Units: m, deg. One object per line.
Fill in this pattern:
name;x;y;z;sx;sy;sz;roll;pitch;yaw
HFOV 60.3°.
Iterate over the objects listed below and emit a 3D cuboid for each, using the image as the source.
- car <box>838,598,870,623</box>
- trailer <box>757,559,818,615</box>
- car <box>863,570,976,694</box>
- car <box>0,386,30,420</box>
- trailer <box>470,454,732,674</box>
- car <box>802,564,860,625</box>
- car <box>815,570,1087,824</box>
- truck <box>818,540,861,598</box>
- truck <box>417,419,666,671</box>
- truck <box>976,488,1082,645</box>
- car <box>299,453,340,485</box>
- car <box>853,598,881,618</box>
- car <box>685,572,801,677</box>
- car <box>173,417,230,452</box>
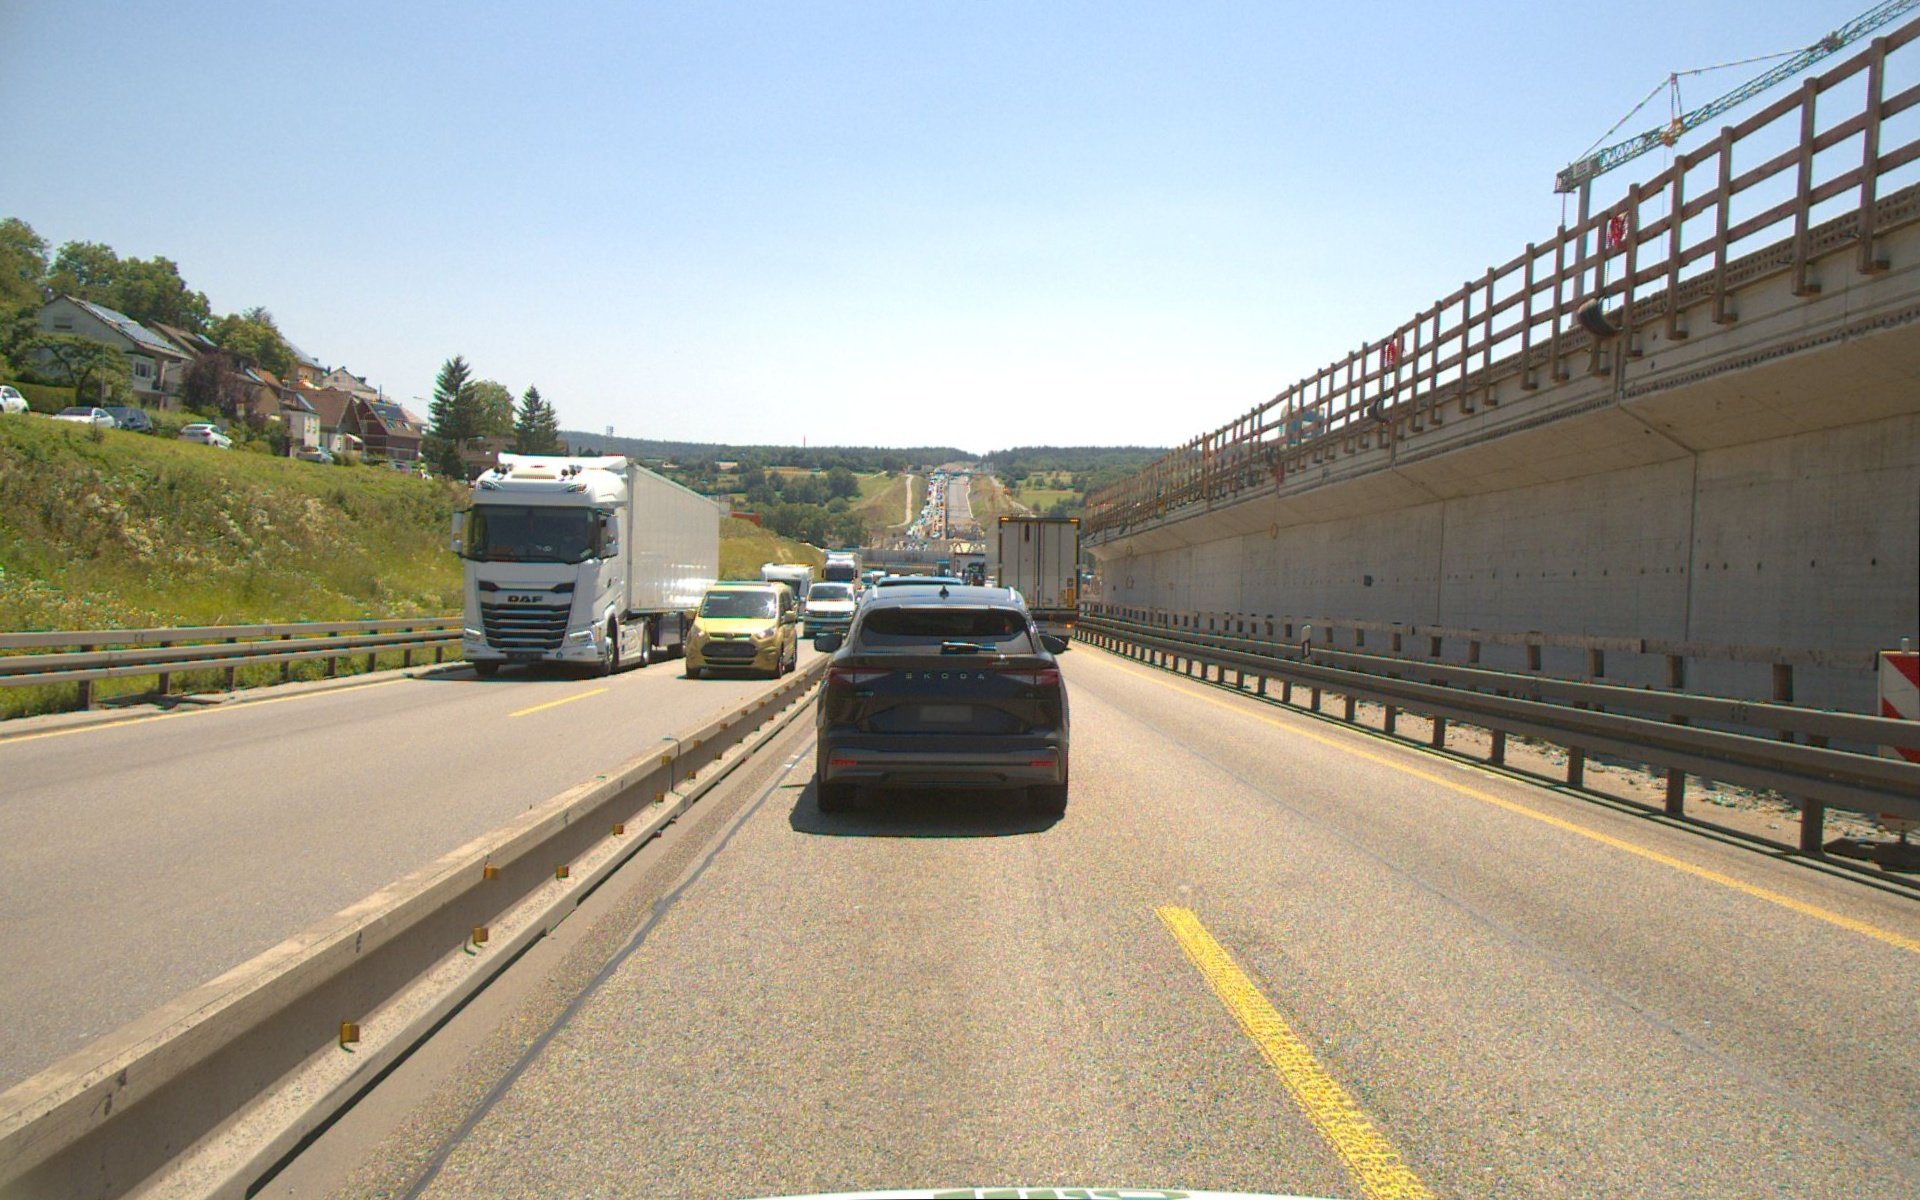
car;-6.197;0.625;97.224;1.668;1.466;3.999;0;-1;-1
trailer;-8.493;-0.602;82.017;2.434;2.659;5.866;0;-1;-1
car;-0.767;0.534;29.006;1.715;1.928;3.752;4;0;-4
car;-37.856;-7.765;64.879;1.256;1.057;3.270;1;0;-7
trailer;-7.898;-0.712;38.850;3.154;4.231;13.407;1;0;0
car;-4.620;-0.160;59.855;1.825;2.049;4.803;1;-1;-2
car;-0.137;0.646;12.701;1.747;1.625;3.753;1;0;-3
truck;-10.002;-2.523;137.691;2.698;4.300;8.097;5;-1;-1
truck;-7.858;-0.917;32.037;3.115;4.312;6.483;1;-1;-1
truck;2.166;-0.940;56.550;2.788;4.696;11.807;2;-1;-1
car;-43.122;-8.791;111.404;1.891;1.758;3.988;1;0;-12
car;-6.469;0.574;115.388;1.735;1.311;3.999;2;-1;-1
car;-4.141;0.442;32.144;1.739;1.852;4.432;1;0;-2
car;-42.024;-9.173;91.703;1.959;1.342;3.988;5;-1;-12
